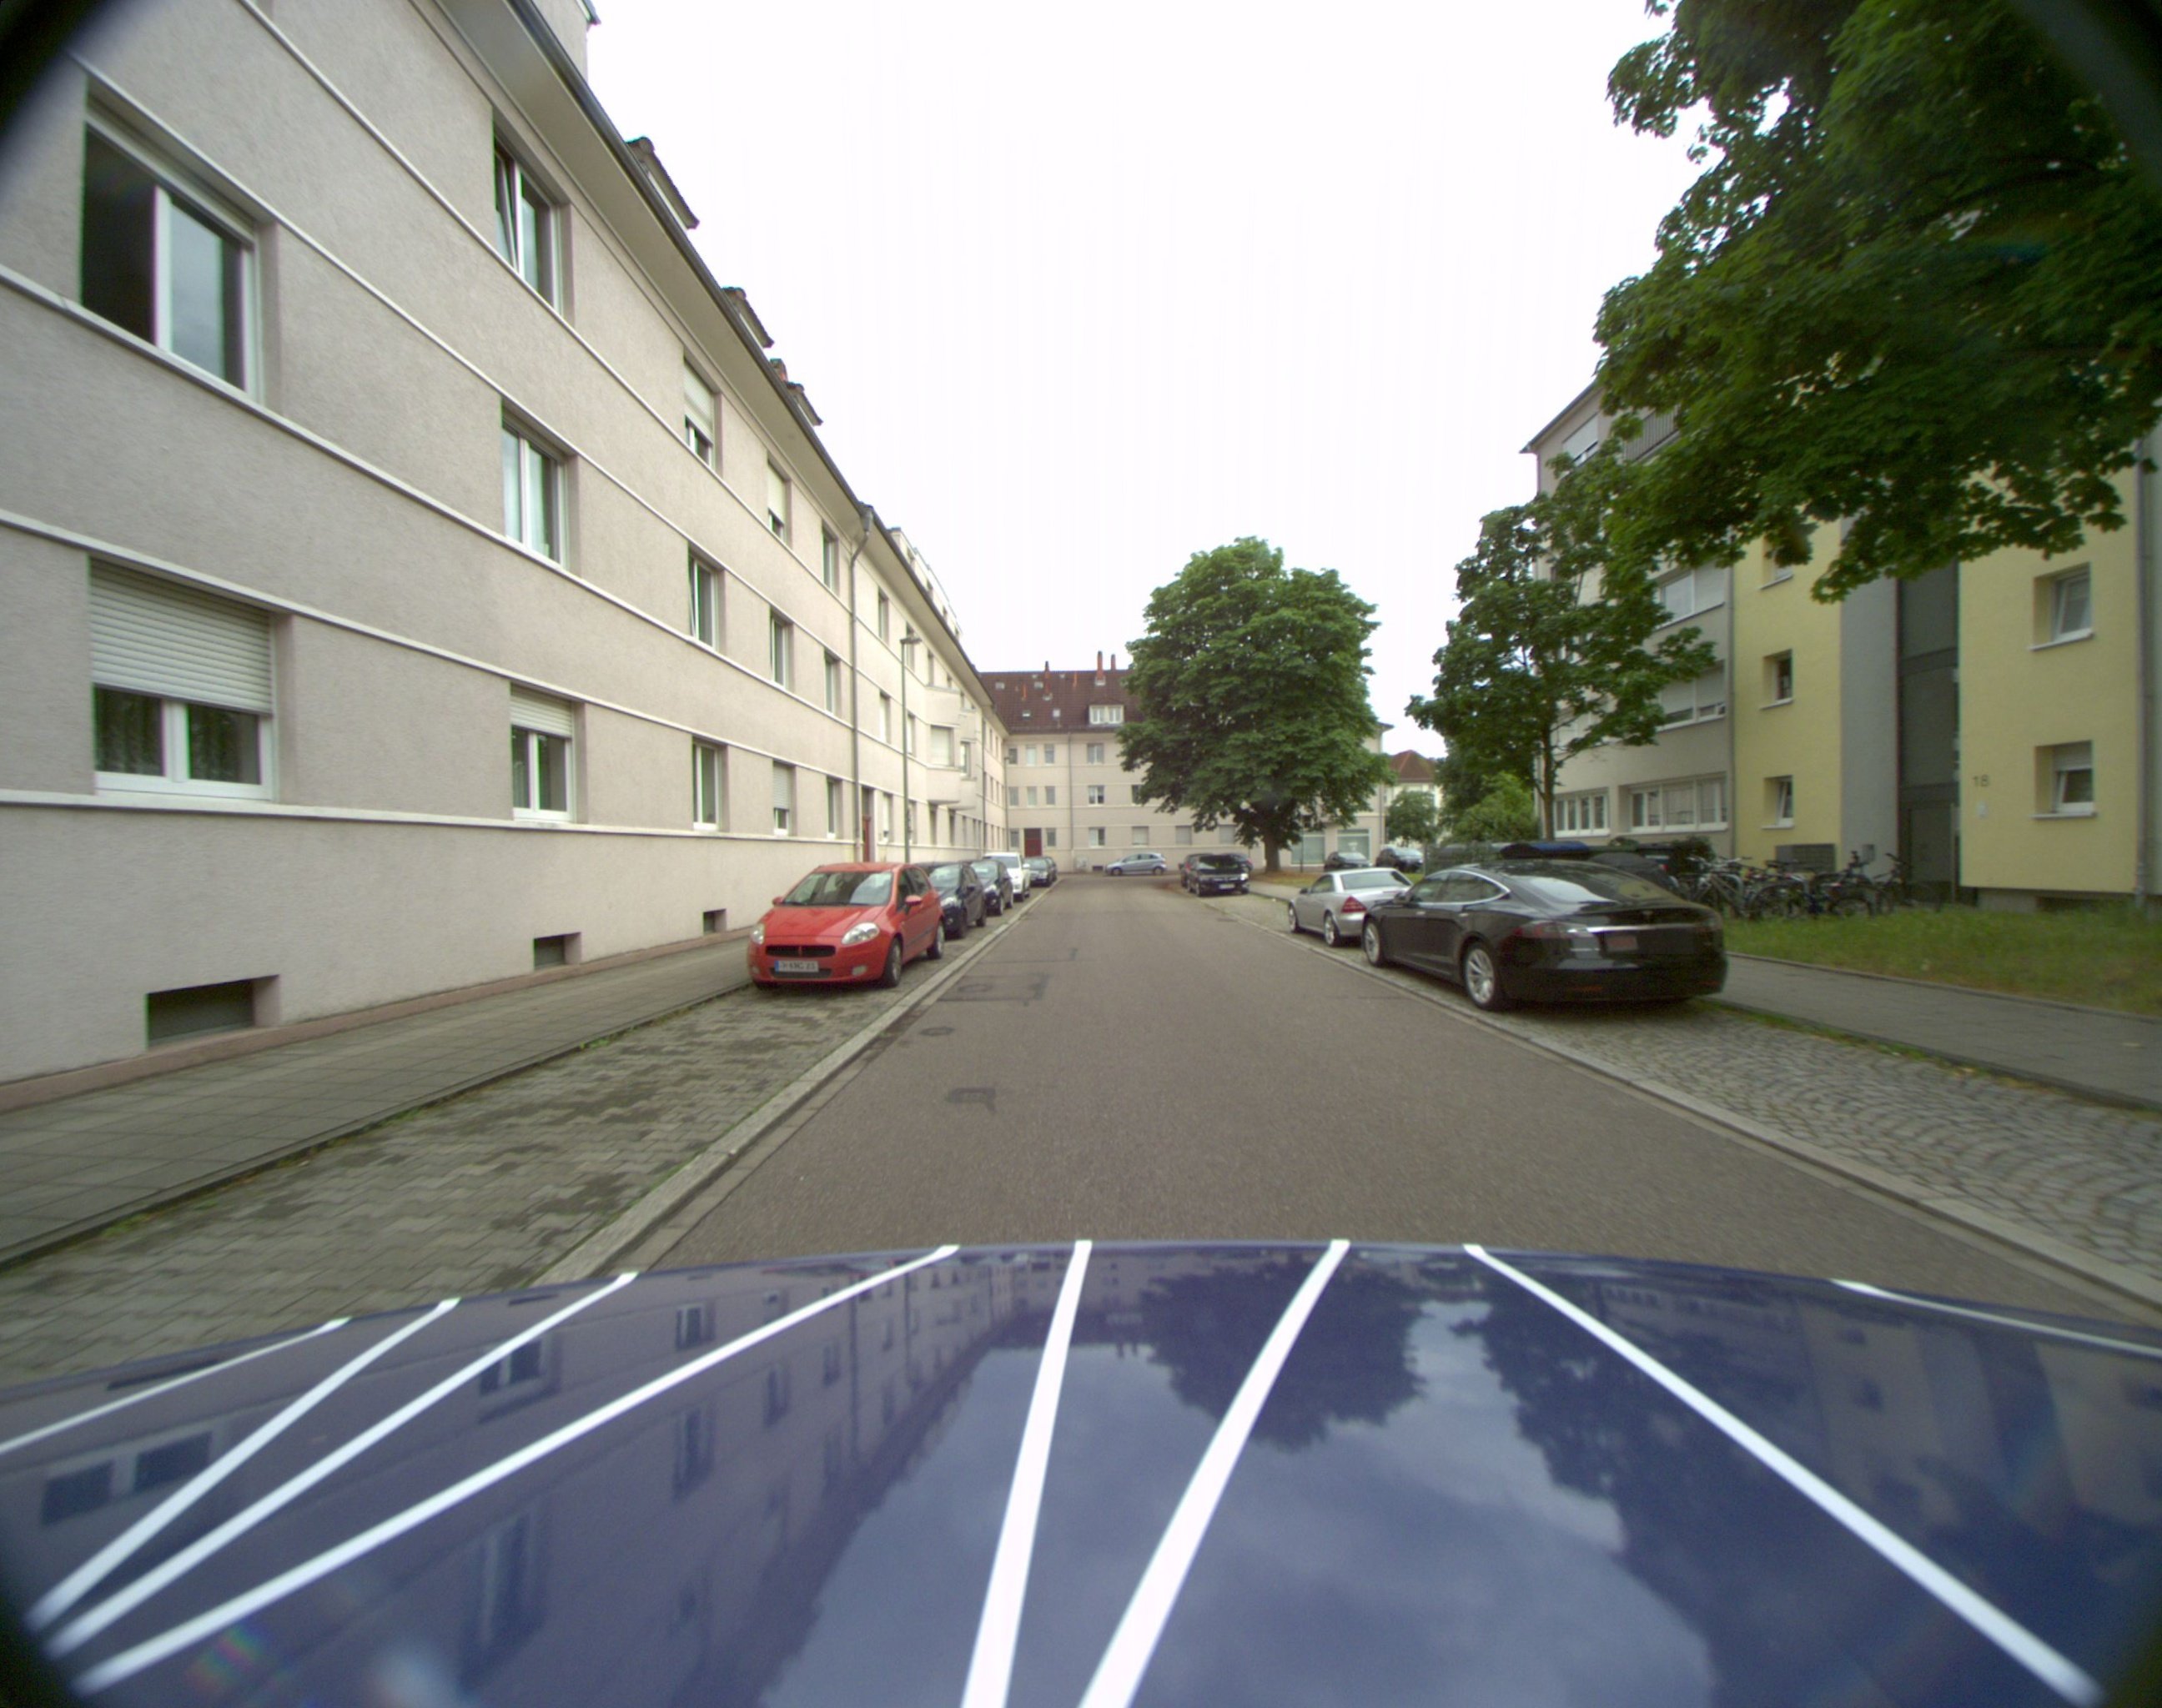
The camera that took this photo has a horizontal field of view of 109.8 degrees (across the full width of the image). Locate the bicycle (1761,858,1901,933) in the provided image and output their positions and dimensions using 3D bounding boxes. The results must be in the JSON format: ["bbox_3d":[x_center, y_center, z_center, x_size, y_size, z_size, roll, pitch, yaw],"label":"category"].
[{"bbox_3d":[12.014,0.621,12.256,0.553,1.094,1.774,-2,1,2],"label":"bicycle"}]

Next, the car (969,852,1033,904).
[{"bbox_3d":[-2.715,0.765,26.577,1.847,1.664,4.289,0,0,-1],"label":"car"}]

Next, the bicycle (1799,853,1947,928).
[{"bbox_3d":[12.592,0.542,12.159,0.553,1.094,1.774,-2,1,2],"label":"bicycle"}]

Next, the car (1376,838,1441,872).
[{"bbox_3d":[17.140,0.079,40.019,1.914,1.687,4.070,-1,-1,5],"label":"car"}]

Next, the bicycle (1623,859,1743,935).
[{"bbox_3d":[9.564,0.651,12.162,0.553,1.094,1.774,-2,1,2],"label":"bicycle"}]

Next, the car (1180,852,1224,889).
[{"bbox_3d":[5.366,0.682,34.076,1.528,1.485,3.592,-4,0,4],"label":"car"}]

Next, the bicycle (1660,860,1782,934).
[{"bbox_3d":[10.492,0.676,12.546,0.553,1.094,1.774,-2,1,2],"label":"bicycle"}]

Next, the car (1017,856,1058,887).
[{"bbox_3d":[-2.089,0.828,37.633,1.749,1.412,4.949,0,0,0],"label":"car"}]

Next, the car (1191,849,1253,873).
[{"bbox_3d":[9.577,0.476,51.821,3.933,1.481,1.762,-2,0,1],"label":"car"}]

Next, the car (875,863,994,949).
[{"bbox_3d":[-2.857,0.954,15.515,1.571,1.465,3.696,0,0,2],"label":"car"}]

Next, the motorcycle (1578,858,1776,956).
[{"bbox_3d":[8.743,0.695,11.408,0.682,1.216,3.066,-1,0,3],"label":"motorcycle"}]

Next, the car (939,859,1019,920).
[{"bbox_3d":[-2.736,0.910,21.152,1.571,1.470,3.871,-1,0,2],"label":"car"}]

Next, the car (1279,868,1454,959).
[{"bbox_3d":[4.962,0.968,13.838,1.701,1.251,4.015,-3,0,1],"label":"car"}]

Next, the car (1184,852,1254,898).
[{"bbox_3d":[5.132,0.724,28.879,1.872,1.456,4.835,-4,0,2],"label":"car"}]

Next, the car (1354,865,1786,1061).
[{"bbox_3d":[4.786,0.918,8.458,1.846,1.413,4.629,-3,0,1],"label":"car"}]

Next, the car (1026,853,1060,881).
[{"bbox_3d":[-2.194,0.739,44.677,1.761,1.516,4.079,0,0,0],"label":"car"}]

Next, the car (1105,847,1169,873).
[{"bbox_3d":[3.794,0.422,51.749,4.195,1.618,1.763,-2,0,4],"label":"car"}]

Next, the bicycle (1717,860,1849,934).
[{"bbox_3d":[11.386,0.661,12.411,0.553,1.094,1.774,-2,1,2],"label":"bicycle"}]

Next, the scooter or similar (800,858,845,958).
[{"bbox_3d":[-5.333,1.096,15.687,0.345,2.002,0.680,-3,1,40],"label":"scooter or similar"}]

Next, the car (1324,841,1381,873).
[{"bbox_3d":[14.160,0.129,39.856,1.829,1.568,3.843,-1,0,4],"label":"car"}]

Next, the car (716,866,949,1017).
[{"bbox_3d":[-2.947,0.948,9.886,1.700,1.516,3.826,0,0,1],"label":"car"}]
